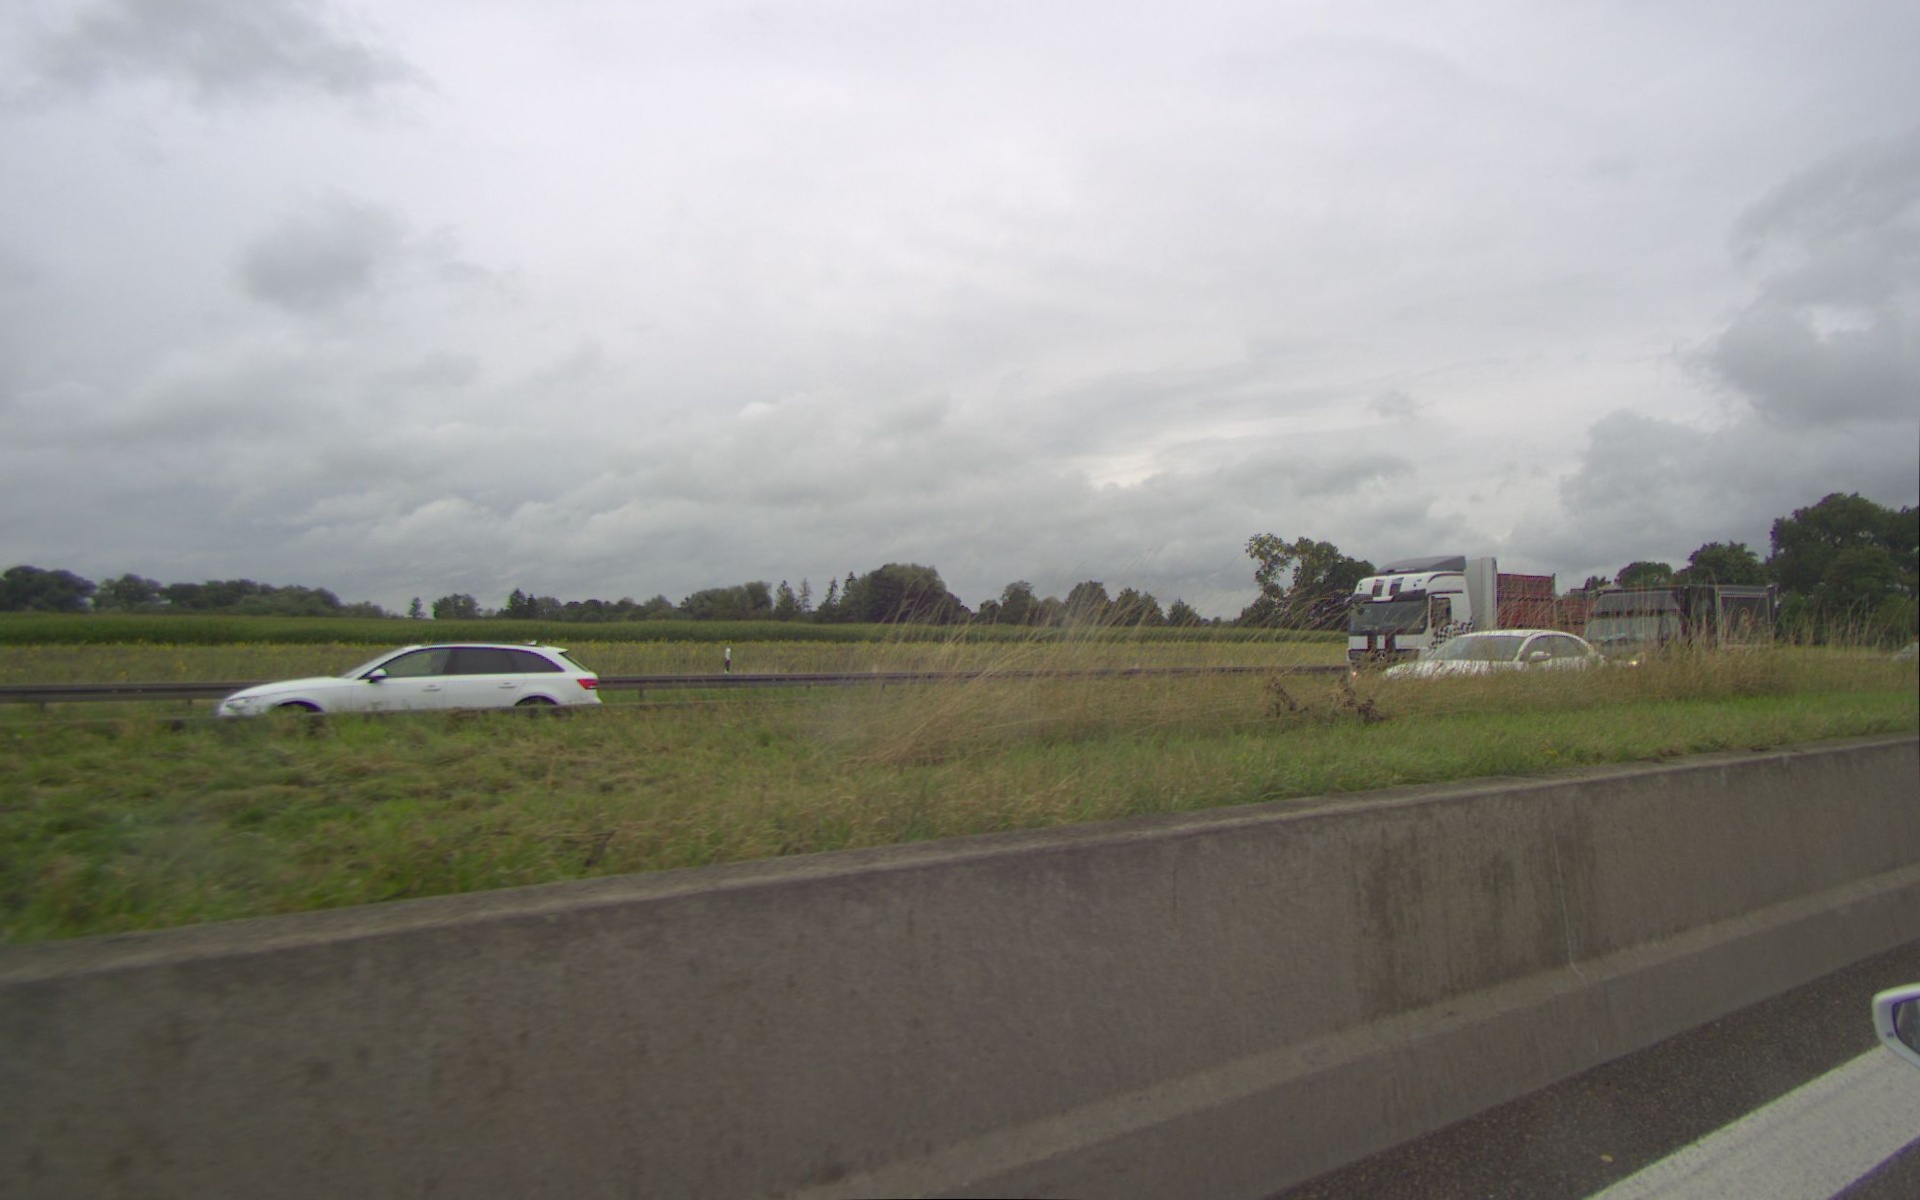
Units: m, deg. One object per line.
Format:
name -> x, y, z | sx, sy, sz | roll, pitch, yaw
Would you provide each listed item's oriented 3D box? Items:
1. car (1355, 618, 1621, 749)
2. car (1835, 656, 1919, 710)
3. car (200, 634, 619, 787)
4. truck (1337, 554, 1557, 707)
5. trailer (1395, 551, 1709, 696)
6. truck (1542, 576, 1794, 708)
car -> 8.159, 1.216, 15.460 | 3.953, 1.740, 1.772 | 2, 0, -30
car -> 38.582, 3.406, 41.751 | 4.567, 2.040, 1.984 | 1, -2, -30
car -> -7.447, 1.415, 14.032 | 4.780, 1.740, 1.984 | 2, 0, -30
truck -> 13.306, 0.742, 27.372 | 5.802, 3.776, 2.628 | 0, 1, -30
trailer -> 18.122, 0.625, 30.246 | 12.049, 3.776, 2.628 | 0, 1, -31
truck -> 17.870, 1.036, 25.192 | 7.337, 2.947, 2.300 | 2, 0, -30
